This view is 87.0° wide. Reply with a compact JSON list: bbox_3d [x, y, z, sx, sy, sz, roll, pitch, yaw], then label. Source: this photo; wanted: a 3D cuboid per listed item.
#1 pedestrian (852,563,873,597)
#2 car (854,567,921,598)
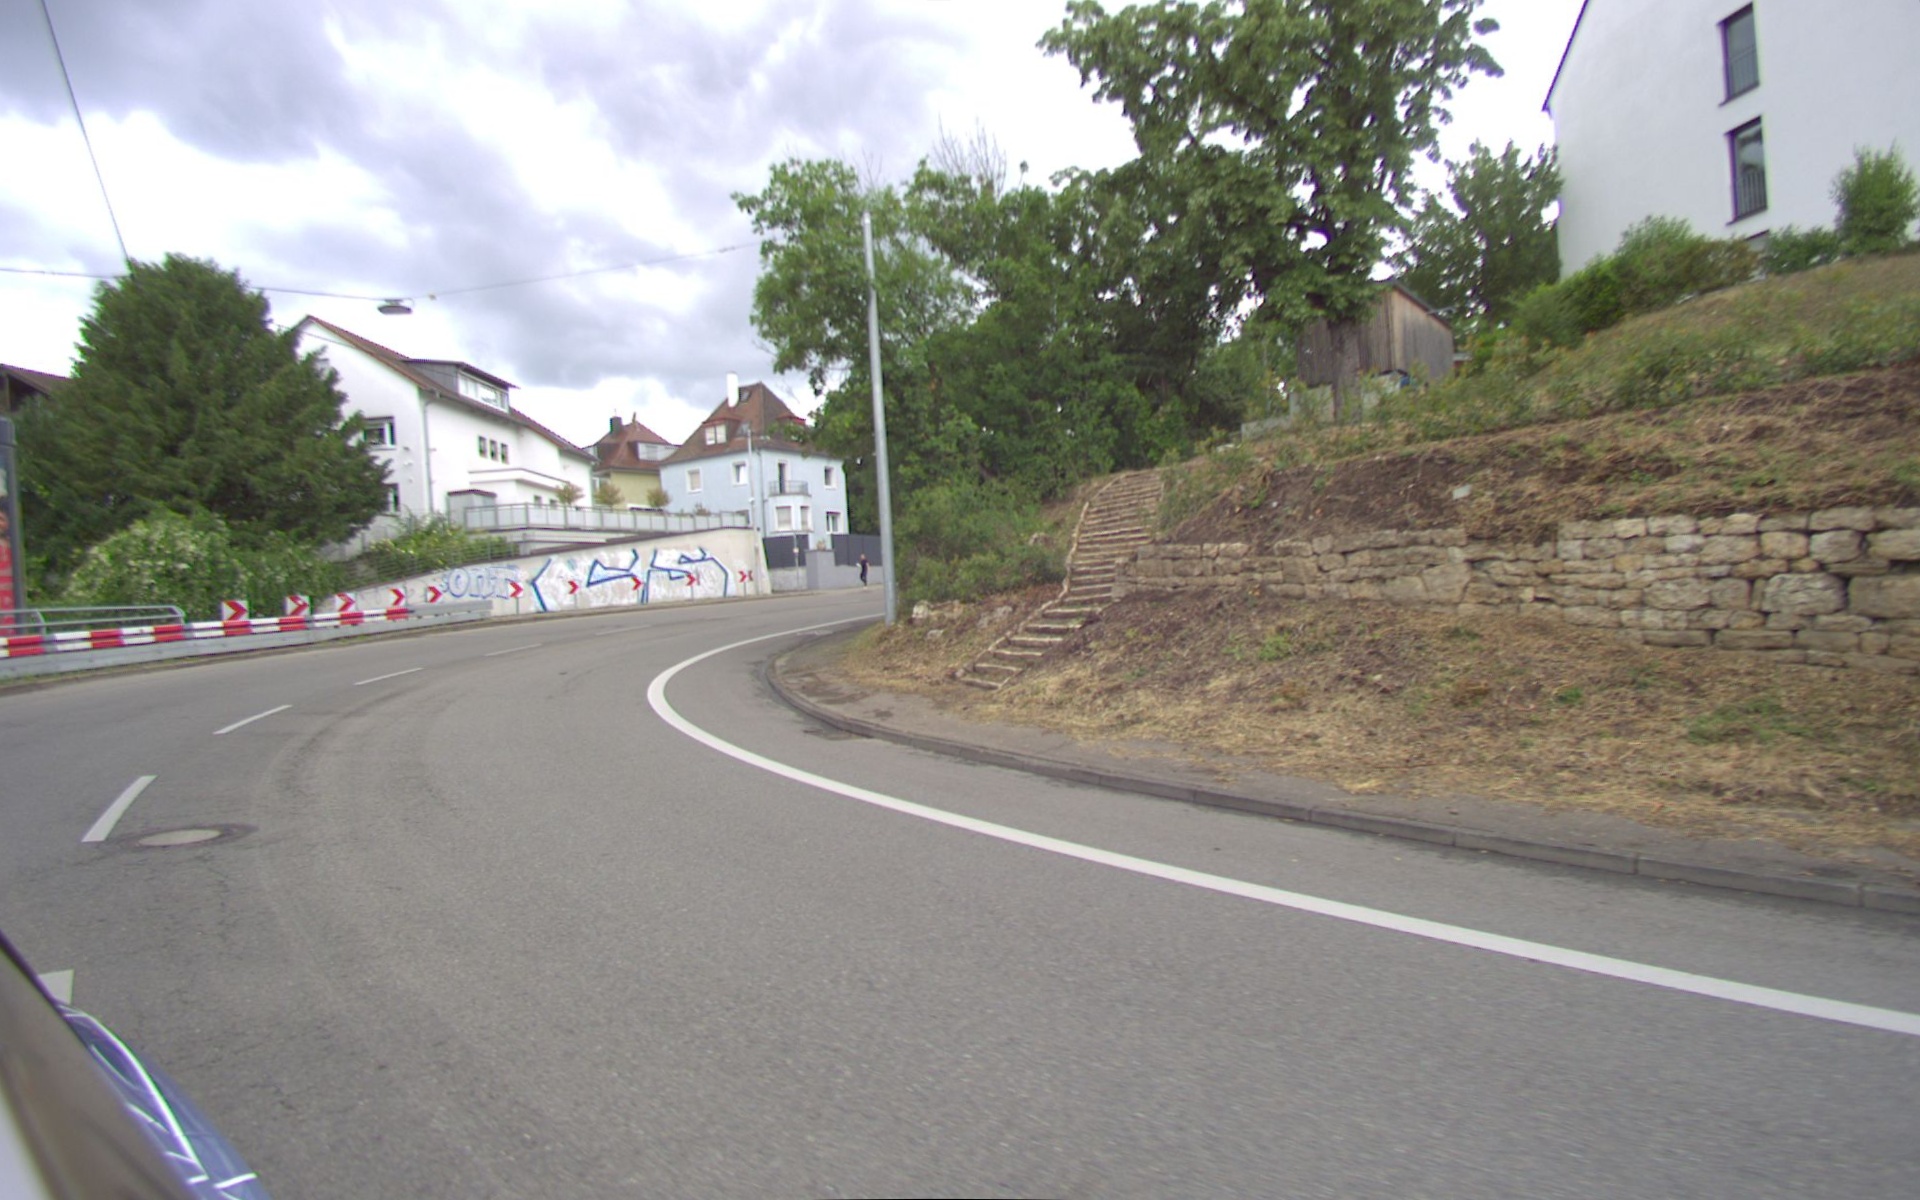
[{"bbox_3d":[-5.392,-1.117,56.002,0.968,1.841,0.576,-4,1,-16],"label":"pedestrian"},{"bbox_3d":[-5.015,-1.189,69.742,1.922,1.878,4.845,-4,1,-42],"label":"car"}]
